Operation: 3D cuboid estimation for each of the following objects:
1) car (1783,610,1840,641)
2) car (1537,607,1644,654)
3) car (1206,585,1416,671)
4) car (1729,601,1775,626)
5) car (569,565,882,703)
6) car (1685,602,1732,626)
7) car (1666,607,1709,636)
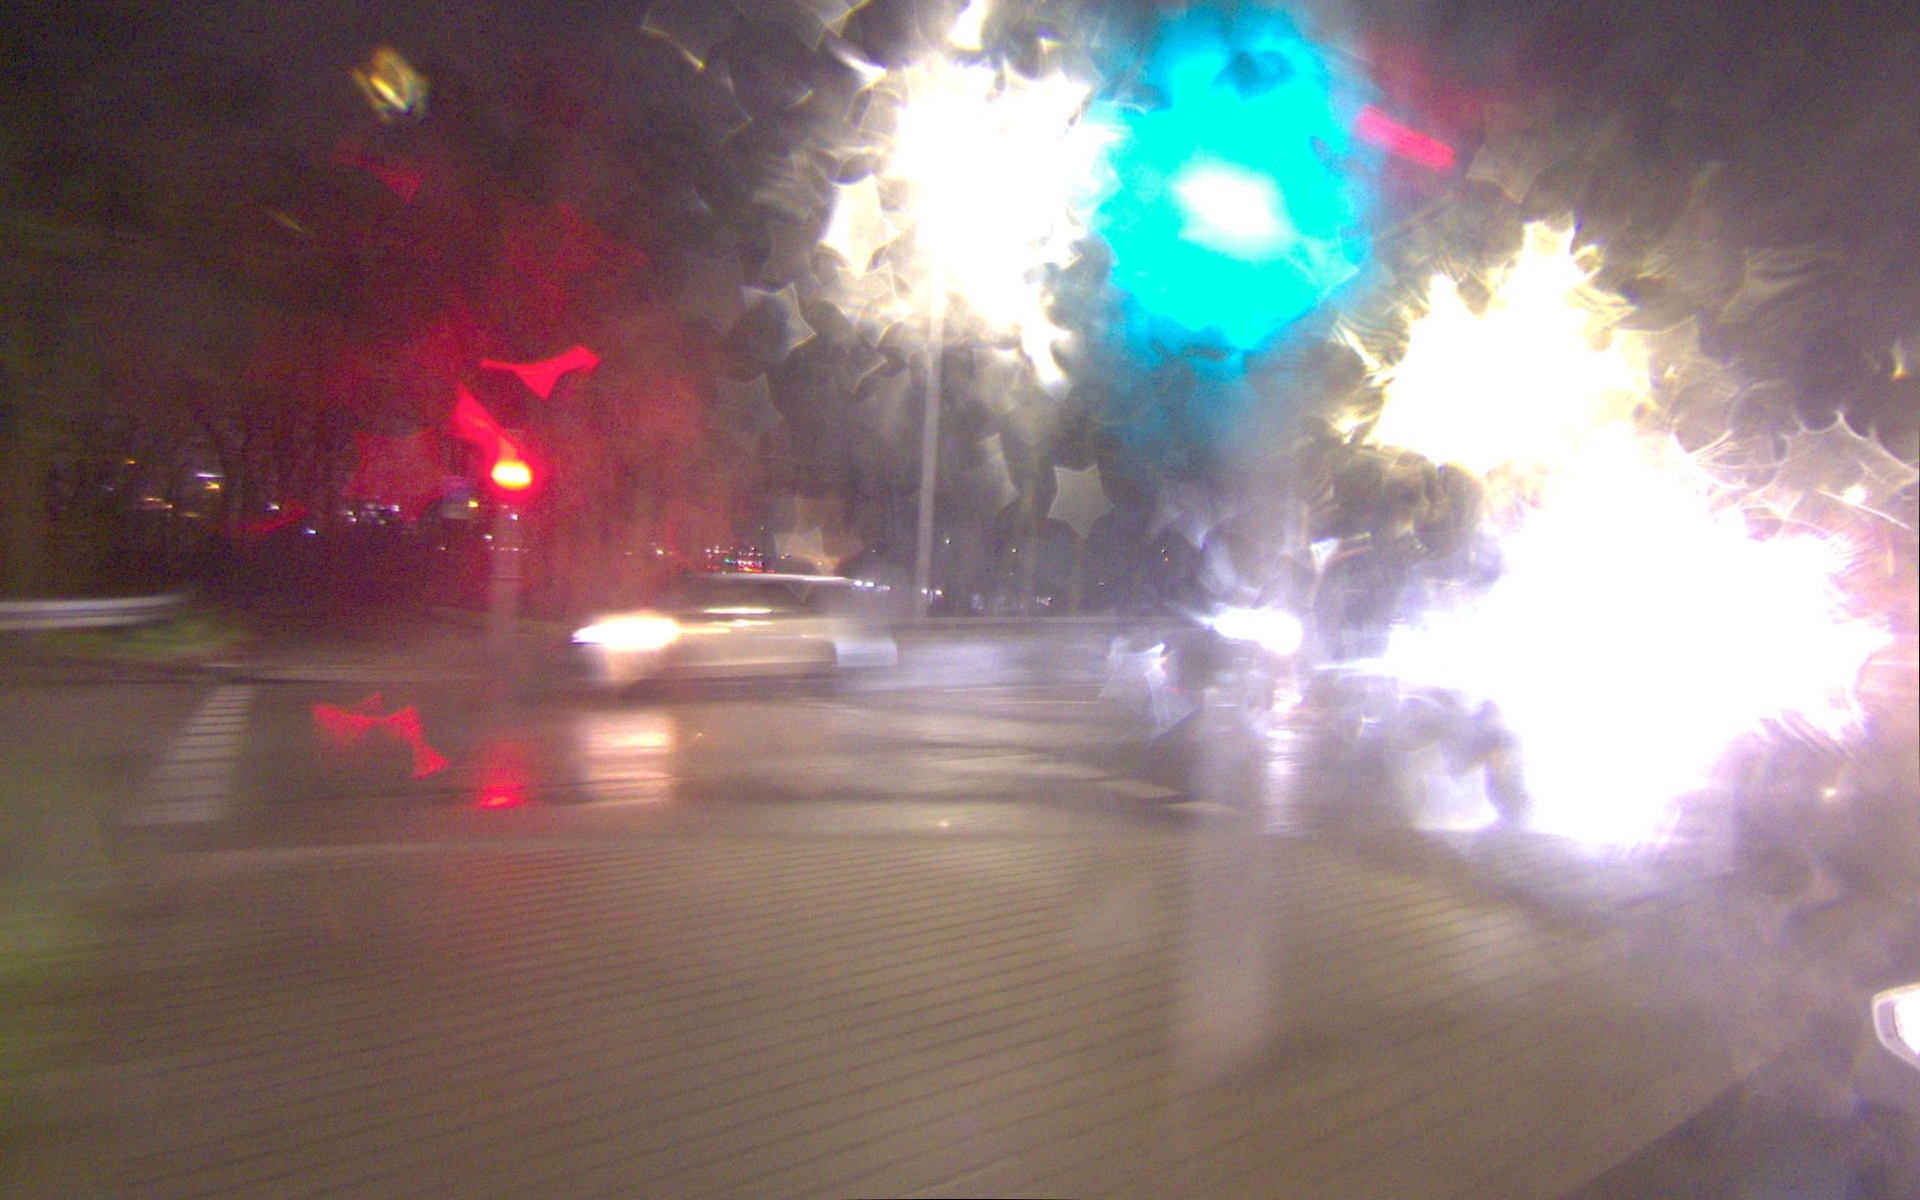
[{"bbox_3d":[50.034,1.471,59.102,1.789,1.639,3.992,5,2,30],"label":"car"},{"bbox_3d":[19.915,0.970,31.672,4.111,1.371,1.791,2,-2,-42],"label":"car"},{"bbox_3d":[6.984,0.540,19.789,4.438,1.480,1.766,2,1,-38],"label":"car"},{"bbox_3d":[57.146,0.948,72.509,1.788,1.639,3.994,5,2,28],"label":"car"},{"bbox_3d":[-2.860,0.364,12.506,3.461,1.452,1.554,1,3,-36],"label":"car"},{"bbox_3d":[61.838,1.136,83.054,2.056,1.665,3.727,7,4,22],"label":"car"},{"bbox_3d":[41.511,1.233,57.300,1.800,1.467,4.642,5,2,37],"label":"car"}]
